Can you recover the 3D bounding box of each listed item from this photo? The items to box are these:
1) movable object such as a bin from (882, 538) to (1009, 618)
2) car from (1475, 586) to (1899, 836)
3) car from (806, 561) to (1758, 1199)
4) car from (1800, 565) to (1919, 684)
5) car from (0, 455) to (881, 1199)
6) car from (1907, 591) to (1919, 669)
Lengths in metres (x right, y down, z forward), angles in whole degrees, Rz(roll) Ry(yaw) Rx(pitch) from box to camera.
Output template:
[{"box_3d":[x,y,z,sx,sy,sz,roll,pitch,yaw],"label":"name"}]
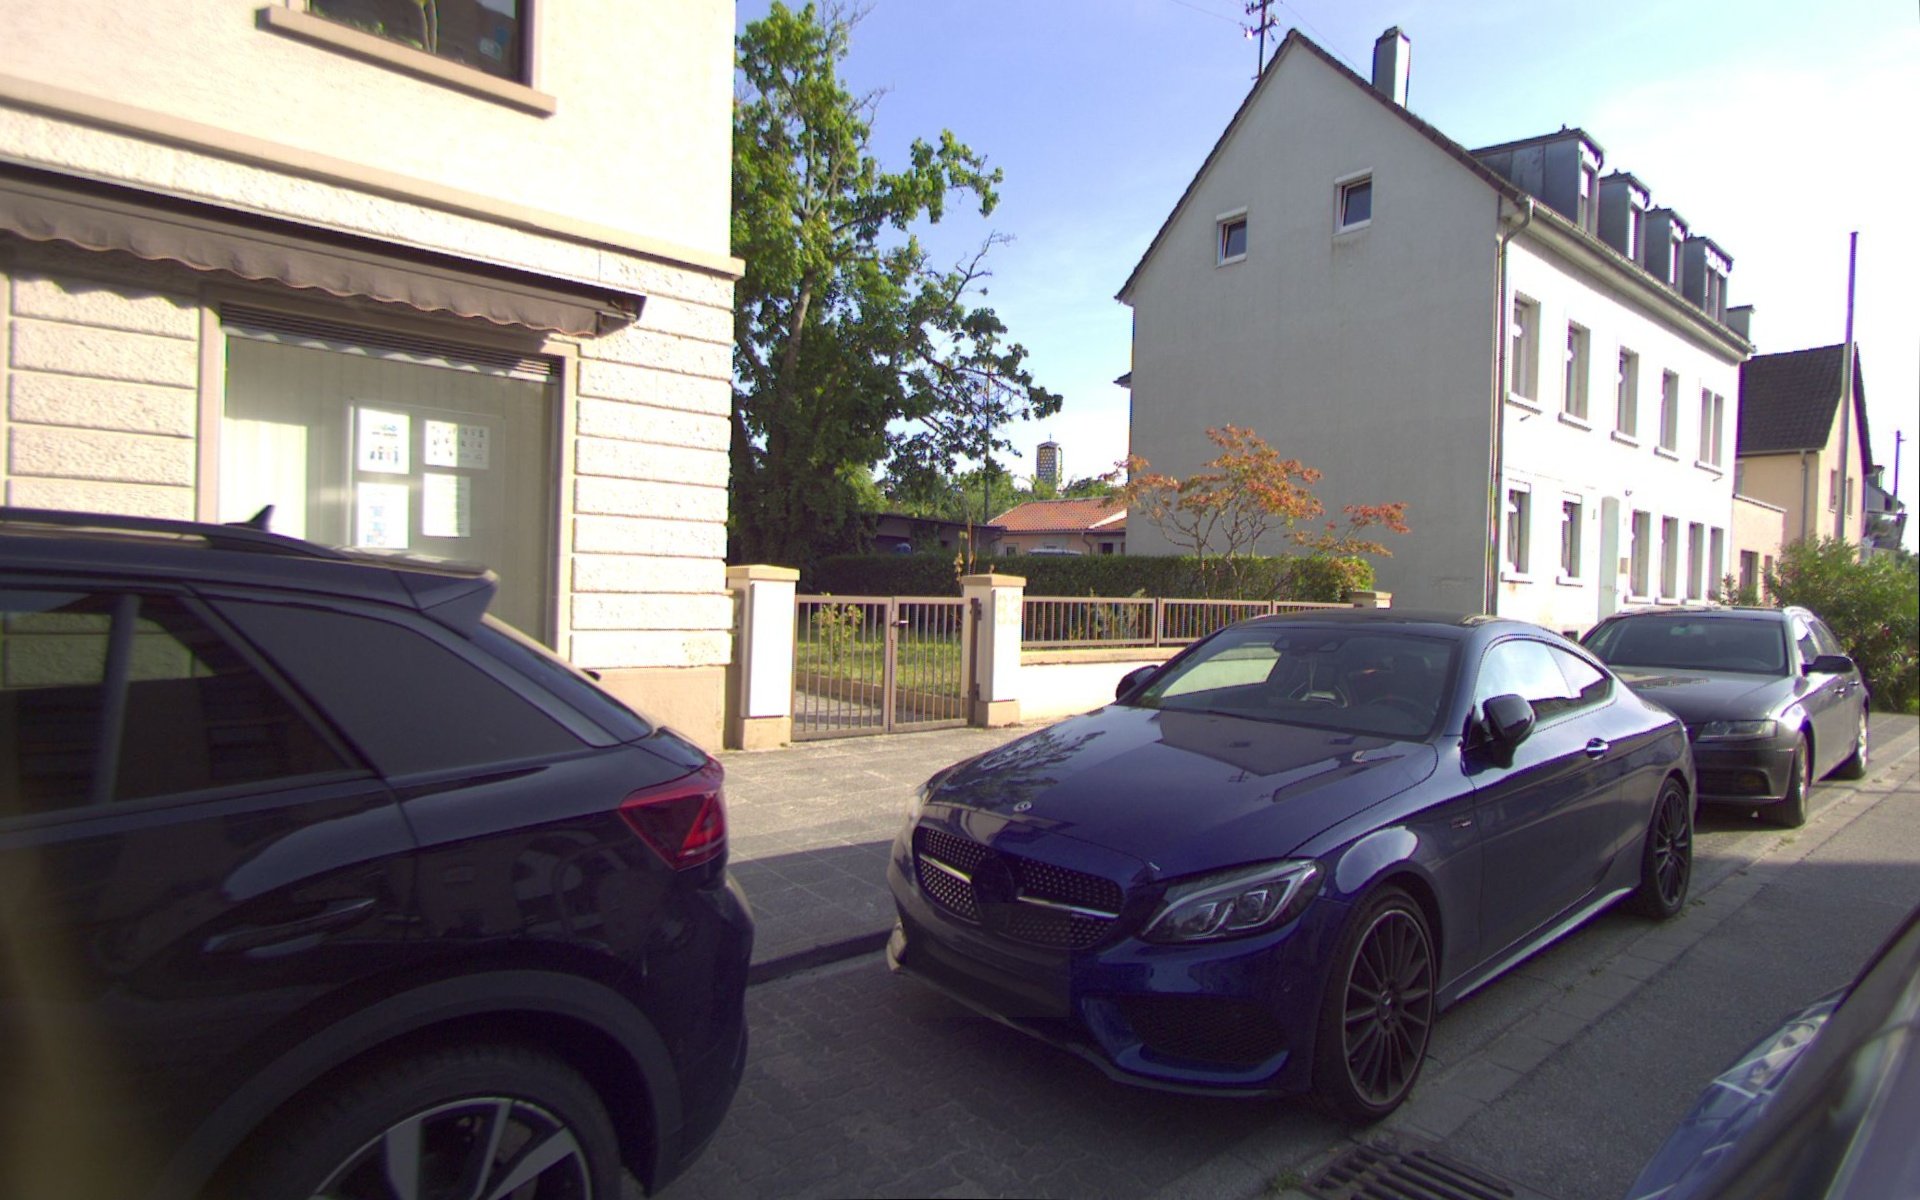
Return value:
[{"box_3d":[-0.392,-0.563,25.041,1.940,1.861,2.569,1,2,-38],"label":"movable object such as a bin"},{"box_3d":[5.986,0.658,8.107,4.417,1.438,1.783,0,1,-41],"label":"car"},{"box_3d":[1.763,0.626,4.450,4.527,1.437,1.834,0,2,-40],"label":"car"},{"box_3d":[17.017,0.426,18.088,4.525,1.878,2.082,1,2,-38],"label":"car"},{"box_3d":[-2.378,0.564,1.489,4.242,1.579,1.833,0,2,-41],"label":"car"},{"box_3d":[21.246,0.627,21.149,4.532,1.547,1.592,0,3,-41],"label":"car"}]
